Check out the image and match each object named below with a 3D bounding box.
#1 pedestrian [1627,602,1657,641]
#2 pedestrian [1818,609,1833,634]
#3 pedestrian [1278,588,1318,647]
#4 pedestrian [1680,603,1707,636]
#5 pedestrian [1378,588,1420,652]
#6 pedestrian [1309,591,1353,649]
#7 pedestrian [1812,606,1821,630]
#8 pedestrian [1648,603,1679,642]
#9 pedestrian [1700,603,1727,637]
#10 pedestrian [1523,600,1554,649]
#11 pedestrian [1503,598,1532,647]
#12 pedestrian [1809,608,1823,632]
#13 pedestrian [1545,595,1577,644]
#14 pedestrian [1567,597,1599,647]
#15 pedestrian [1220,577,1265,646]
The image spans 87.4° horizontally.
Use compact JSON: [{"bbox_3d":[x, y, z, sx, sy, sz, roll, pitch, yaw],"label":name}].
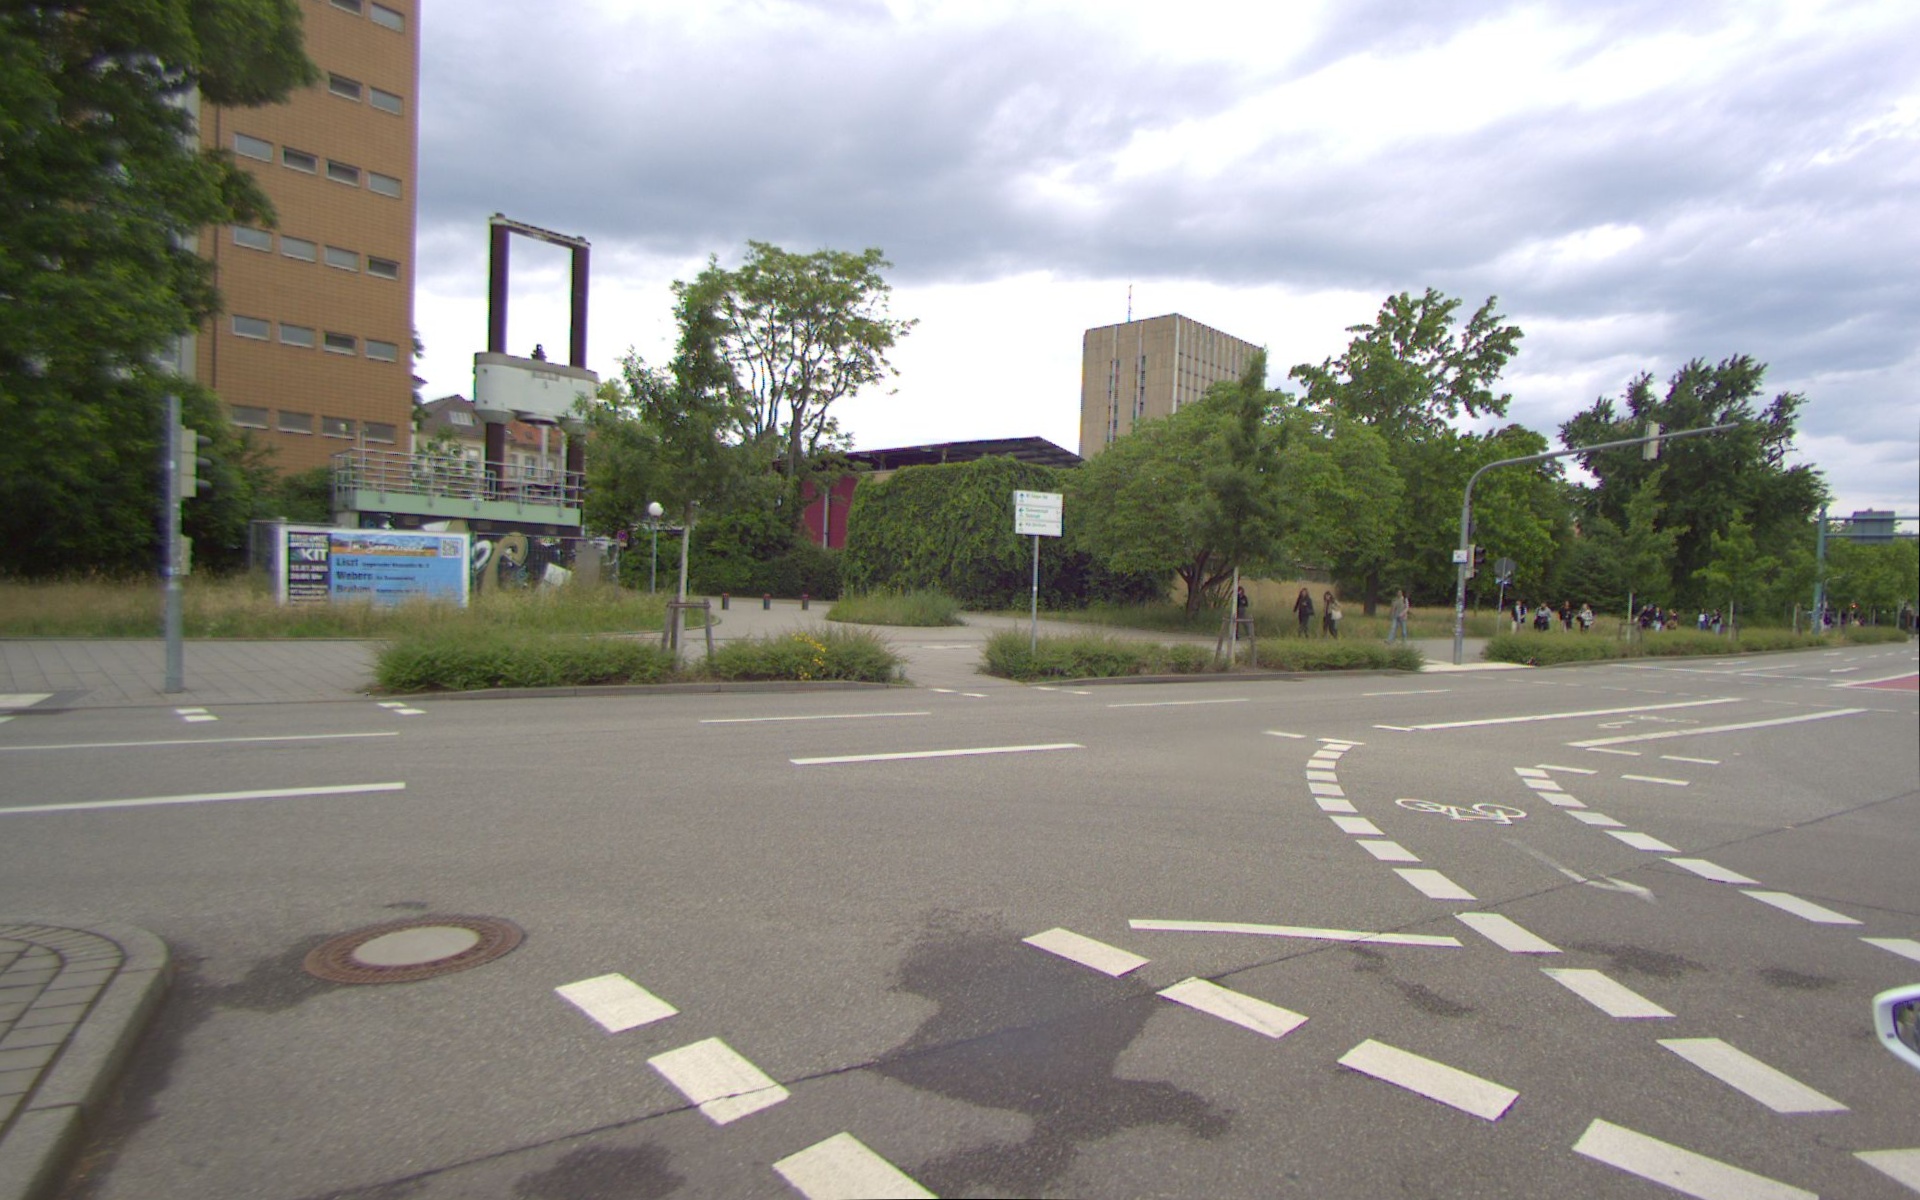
[{"bbox_3d":[33.166,1.040,48.858,1.055,1.803,0.910,1,2,-40],"label":"pedestrian"},{"bbox_3d":[71.423,1.782,82.908,0.774,2.041,0.717,1,1,-35],"label":"pedestrian"},{"bbox_3d":[10.509,0.539,31.246,0.896,1.789,0.751,1,1,-32],"label":"pedestrian"},{"bbox_3d":[40.817,1.069,55.904,1.055,1.803,0.910,1,2,-40],"label":"pedestrian"},{"bbox_3d":[14.370,0.657,32.885,1.035,2.041,0.751,1,1,-32],"label":"pedestrian"},{"bbox_3d":[11.384,0.622,30.816,1.035,1.735,0.751,1,1,-32],"label":"pedestrian"},{"bbox_3d":[79.016,1.688,92.649,0.471,2.185,0.467,1,1,-35],"label":"pedestrian"},{"bbox_3d":[33.731,1.079,48.145,1.055,1.803,0.910,1,2,-40],"label":"pedestrian"},{"bbox_3d":[41.405,1.096,55.178,1.055,1.803,0.910,1,2,-40],"label":"pedestrian"},{"bbox_3d":[22.530,0.948,39.104,0.749,1.895,0.709,1,1,-33],"label":"pedestrian"},{"bbox_3d":[22.035,0.900,39.704,0.750,1.895,0.709,1,1,-35],"label":"pedestrian"},{"bbox_3d":[73.892,1.730,86.700,0.589,2.041,0.663,1,1,-34],"label":"pedestrian"},{"bbox_3d":[25.772,0.845,43.050,1.037,2.041,0.750,1,1,-35],"label":"pedestrian"},{"bbox_3d":[26.383,0.934,42.528,1.037,2.041,0.750,1,1,-35],"label":"pedestrian"},{"bbox_3d":[8.652,0.350,30.789,1.035,2.041,0.751,1,1,-32],"label":"pedestrian"}]
